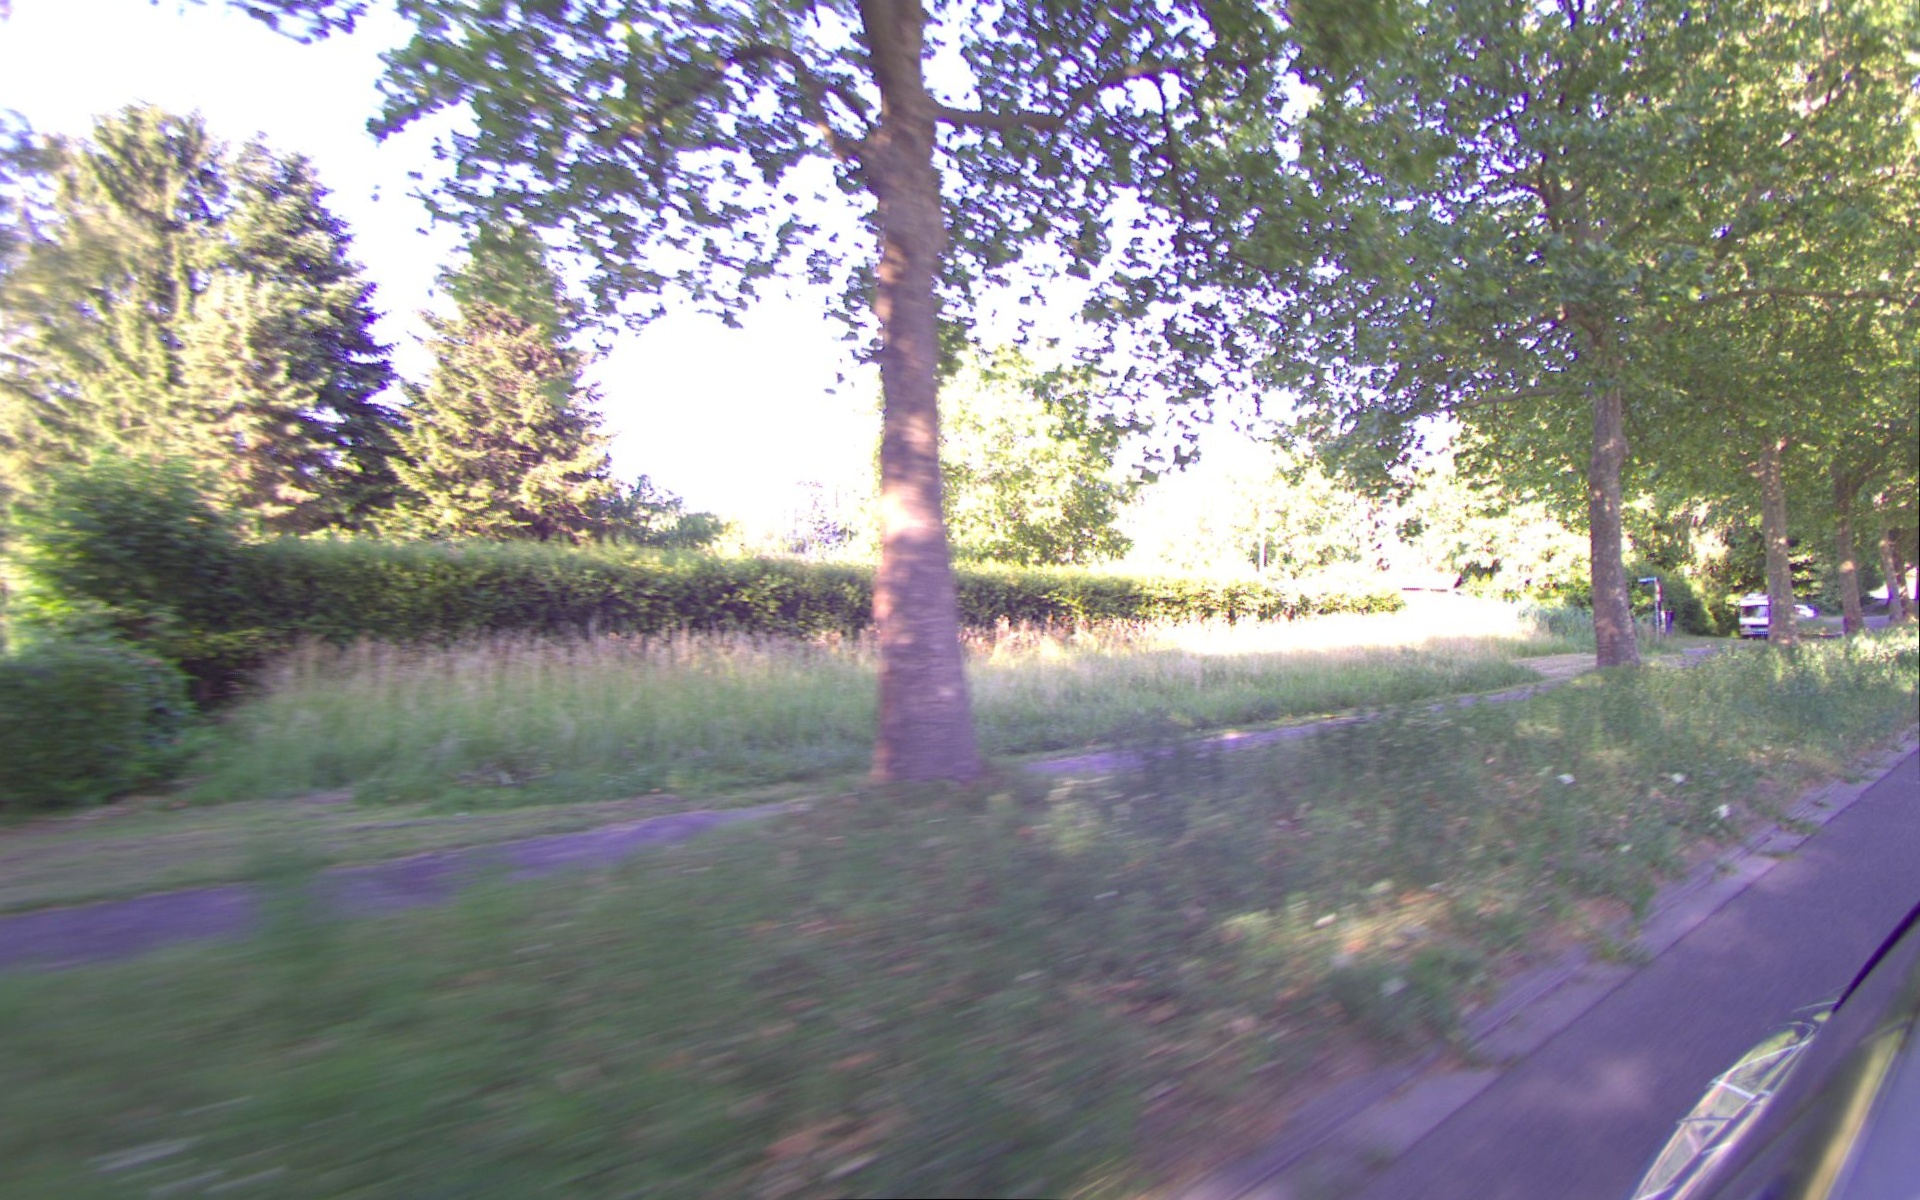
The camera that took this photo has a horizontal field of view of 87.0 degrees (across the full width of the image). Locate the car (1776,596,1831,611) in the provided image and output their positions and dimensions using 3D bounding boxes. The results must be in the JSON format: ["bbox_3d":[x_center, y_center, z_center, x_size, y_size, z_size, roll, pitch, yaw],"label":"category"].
[{"bbox_3d":[85.861,0.334,103.061,1.963,1.404,3.998,-1,1,-37],"label":"car"}]

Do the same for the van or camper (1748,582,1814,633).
[{"bbox_3d":[48.489,0.375,59.761,5.592,2.835,2.382,-1,1,-44],"label":"van or camper"}]

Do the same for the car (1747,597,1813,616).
[{"bbox_3d":[77.104,0.612,95.192,1.963,1.691,4.513,-1,1,-37],"label":"car"}]
